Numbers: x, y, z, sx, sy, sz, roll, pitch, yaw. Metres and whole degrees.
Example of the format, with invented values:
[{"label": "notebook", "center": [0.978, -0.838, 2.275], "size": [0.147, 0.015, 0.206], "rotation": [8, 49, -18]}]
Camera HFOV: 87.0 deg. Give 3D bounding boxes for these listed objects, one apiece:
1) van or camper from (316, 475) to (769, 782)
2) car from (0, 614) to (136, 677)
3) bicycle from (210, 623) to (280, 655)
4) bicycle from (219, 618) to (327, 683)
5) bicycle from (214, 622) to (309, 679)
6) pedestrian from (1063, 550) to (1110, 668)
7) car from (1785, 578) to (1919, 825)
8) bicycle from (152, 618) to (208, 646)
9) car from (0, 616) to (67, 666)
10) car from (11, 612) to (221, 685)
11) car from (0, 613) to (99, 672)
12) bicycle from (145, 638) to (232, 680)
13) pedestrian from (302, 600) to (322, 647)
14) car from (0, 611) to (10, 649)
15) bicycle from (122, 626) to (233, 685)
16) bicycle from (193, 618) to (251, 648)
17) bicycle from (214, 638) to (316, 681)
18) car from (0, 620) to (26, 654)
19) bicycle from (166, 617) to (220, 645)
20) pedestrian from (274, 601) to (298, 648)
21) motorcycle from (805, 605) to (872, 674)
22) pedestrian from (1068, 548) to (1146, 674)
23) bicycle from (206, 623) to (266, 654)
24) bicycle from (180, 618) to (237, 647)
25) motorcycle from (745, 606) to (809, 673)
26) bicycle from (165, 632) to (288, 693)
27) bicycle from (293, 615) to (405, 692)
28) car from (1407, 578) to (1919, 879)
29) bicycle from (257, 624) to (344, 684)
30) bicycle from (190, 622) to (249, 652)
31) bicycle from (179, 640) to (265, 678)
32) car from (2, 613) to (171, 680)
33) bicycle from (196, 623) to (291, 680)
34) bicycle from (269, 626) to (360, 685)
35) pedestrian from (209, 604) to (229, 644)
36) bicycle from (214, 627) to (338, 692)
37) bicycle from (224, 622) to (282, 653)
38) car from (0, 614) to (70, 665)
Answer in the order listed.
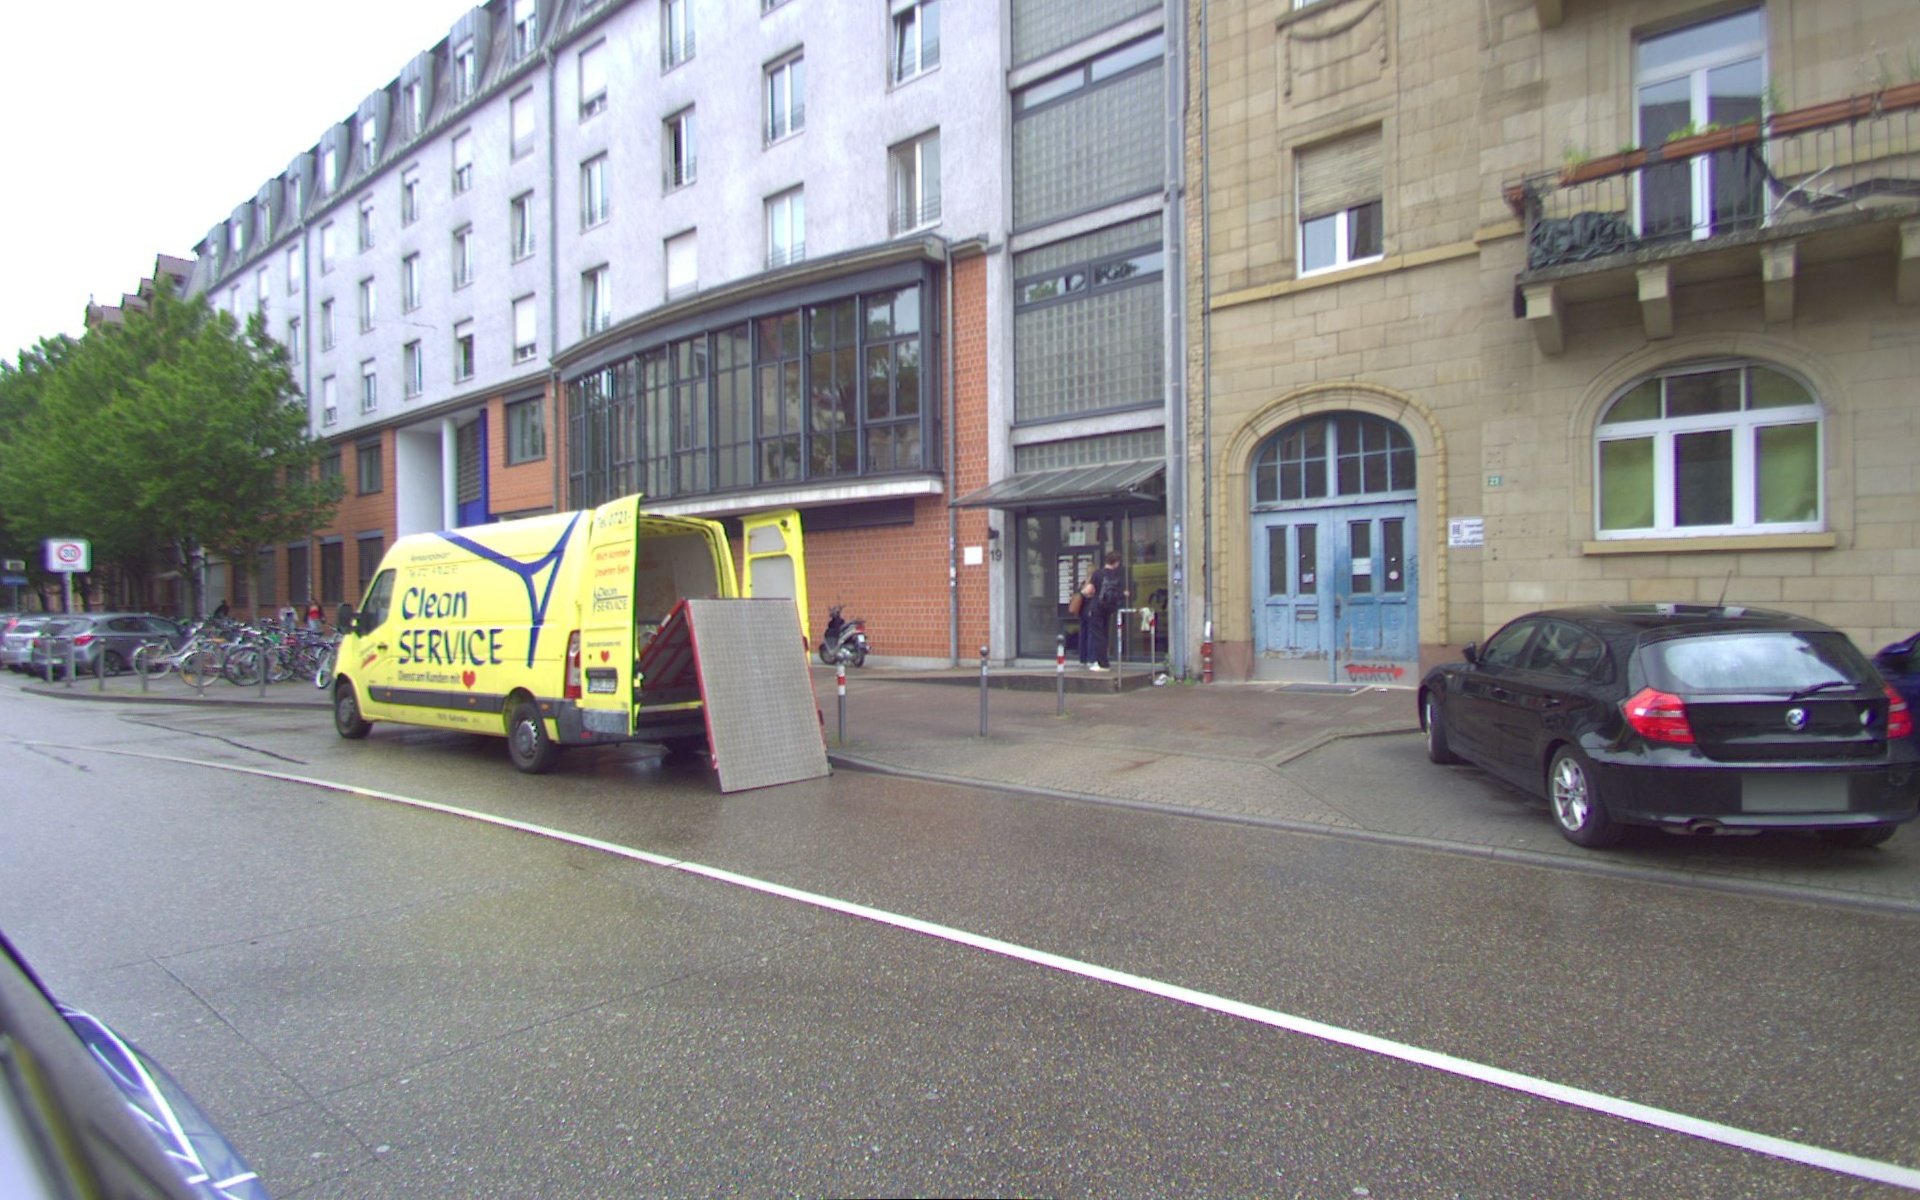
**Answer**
[{"label": "van or camper", "center": [-4.929, 0.298, 11.409], "size": [5.936, 2.631, 2.174], "rotation": [-1, -2, 39]}, {"label": "car", "center": [-24.246, 1.186, 27.356], "size": [1.432, 1.514, 3.078], "rotation": [-1, 0, 0]}, {"label": "bicycle", "center": [-23.382, 1.250, 33.122], "size": [0.444, 0.992, 1.831], "rotation": [-1, -1, 32]}, {"label": "bicycle", "center": [-14.061, 1.011, 20.773], "size": [0.517, 1.203, 1.798], "rotation": [-1, 1, 27]}, {"label": "bicycle", "center": [-14.932, 1.063, 21.674], "size": [0.517, 1.114, 1.596], "rotation": [-1, 1, 27]}, {"label": "pedestrian", "center": [1.941, 0.142, 15.579], "size": [0.467, 1.761, 0.608], "rotation": [0, -2, -24]}, {"label": "car", "center": [6.923, 0.638, 5.721], "size": [1.780, 1.585, 4.029], "rotation": [-1, -1, 11]}, {"label": "bicycle", "center": [-28.525, 1.151, 37.025], "size": [0.464, 0.992, 1.573], "rotation": [-1, -1, 32]}, {"label": "car", "center": [-29.167, 1.256, 31.118], "size": [1.177, 1.461, 2.502], "rotation": [-1, 0, 0]}, {"label": "car", "center": [-19.848, 1.086, 23.995], "size": [1.720, 1.514, 3.614], "rotation": [0, 0, 9]}, {"label": "car", "center": [-26.664, 1.191, 28.960], "size": [1.432, 1.564, 3.078], "rotation": [-1, 0, 0]}, {"label": "bicycle", "center": [-17.128, 1.294, 22.489], "size": [0.497, 0.811, 1.454], "rotation": [-1, 1, 43]}, {"label": "pedestrian", "center": [-22.817, 0.824, 35.629], "size": [0.425, 1.622, 0.508], "rotation": [-1, -1, 41]}, {"label": "car", "center": [-48.712, 1.468, 48.835], "size": [1.666, 1.910, 4.330], "rotation": [0, -1, -1]}, {"label": "bicycle", "center": [-16.582, 1.154, 21.479], "size": [0.472, 1.114, 1.791], "rotation": [-1, 1, 35]}, {"label": "bicycle", "center": [-25.617, 1.144, 35.141], "size": [0.444, 0.992, 1.573], "rotation": [-1, -1, 32]}, {"label": "bicycle", "center": [-14.498, 1.217, 21.160], "size": [0.455, 0.767, 1.757], "rotation": [-1, 1, 27]}, {"label": "car", "center": [-43.498, 1.629, 44.548], "size": [1.662, 1.502, 3.798], "rotation": [0, -1, -10]}, {"label": "bicycle", "center": [-28.833, 1.160, 38.050], "size": [0.464, 0.992, 1.573], "rotation": [-1, -1, 32]}, {"label": "pedestrian", "center": [-23.526, 0.843, 35.326], "size": [0.372, 1.622, 0.598], "rotation": [-1, -1, 39]}, {"label": "motorcycle", "center": [-2.236, 0.692, 18.475], "size": [0.516, 1.190, 1.763], "rotation": [-1, 0, -30]}, {"label": "pedestrian", "center": [2.130, 0.163, 14.605], "size": [0.785, 1.741, 0.997], "rotation": [-1, -1, 31]}, {"label": "bicycle", "center": [-23.822, 1.250, 33.333], "size": [0.444, 0.992, 1.573], "rotation": [-1, -1, 32]}, {"label": "bicycle", "center": [-26.575, 1.146, 35.811], "size": [0.464, 0.992, 1.573], "rotation": [-1, -1, 32]}, {"label": "motorcycle", "center": [-3.522, 0.723, 19.305], "size": [0.516, 1.190, 2.010], "rotation": [-1, 0, -30]}, {"label": "bicycle", "center": [-13.788, 1.156, 19.069], "size": [0.519, 1.000, 1.778], "rotation": [-1, 1, 38]}, {"label": "bicycle", "center": [-11.214, 0.947, 18.662], "size": [0.760, 1.225, 1.917], "rotation": [0, 3, 5]}, {"label": "car", "center": [4.745, 0.678, 7.174], "size": [1.777, 1.523, 4.034], "rotation": [0, -1, 7]}, {"label": "bicycle", "center": [-13.273, 1.066, 20.377], "size": [1.439, 1.111, 0.462], "rotation": [-2, 1, -36]}, {"label": "bicycle", "center": [-25.280, 1.253, 34.574], "size": [0.444, 0.992, 1.573], "rotation": [-1, -1, 32]}, {"label": "bicycle", "center": [-16.348, 1.288, 22.444], "size": [0.497, 0.727, 1.454], "rotation": [-1, 1, 43]}, {"label": "car", "center": [-22.147, 1.144, 25.803], "size": [1.436, 1.514, 3.070], "rotation": [-1, 0, 9]}, {"label": "bicycle", "center": [-15.528, 1.098, 21.965], "size": [0.519, 1.114, 1.591], "rotation": [-1, 1, 35]}, {"label": "bicycle", "center": [-12.673, 1.073, 19.887], "size": [0.418, 1.072, 1.442], "rotation": [-1, 1, 44]}, {"label": "pedestrian", "center": [-30.257, 0.971, 41.306], "size": [0.533, 1.609, 0.564], "rotation": [-1, -1, 41]}, {"label": "bicycle", "center": [-12.786, 1.081, 18.964], "size": [1.832, 1.081, 0.610], "rotation": [-2, 1, -45]}, {"label": "bicycle", "center": [-23.839, 1.260, 34.160], "size": [0.444, 0.992, 1.573], "rotation": [-1, -1, 32]}, {"label": "car", "center": [-30.942, 1.285, 32.785], "size": [1.358, 1.567, 2.971], "rotation": [-1, 0, 11]}]
